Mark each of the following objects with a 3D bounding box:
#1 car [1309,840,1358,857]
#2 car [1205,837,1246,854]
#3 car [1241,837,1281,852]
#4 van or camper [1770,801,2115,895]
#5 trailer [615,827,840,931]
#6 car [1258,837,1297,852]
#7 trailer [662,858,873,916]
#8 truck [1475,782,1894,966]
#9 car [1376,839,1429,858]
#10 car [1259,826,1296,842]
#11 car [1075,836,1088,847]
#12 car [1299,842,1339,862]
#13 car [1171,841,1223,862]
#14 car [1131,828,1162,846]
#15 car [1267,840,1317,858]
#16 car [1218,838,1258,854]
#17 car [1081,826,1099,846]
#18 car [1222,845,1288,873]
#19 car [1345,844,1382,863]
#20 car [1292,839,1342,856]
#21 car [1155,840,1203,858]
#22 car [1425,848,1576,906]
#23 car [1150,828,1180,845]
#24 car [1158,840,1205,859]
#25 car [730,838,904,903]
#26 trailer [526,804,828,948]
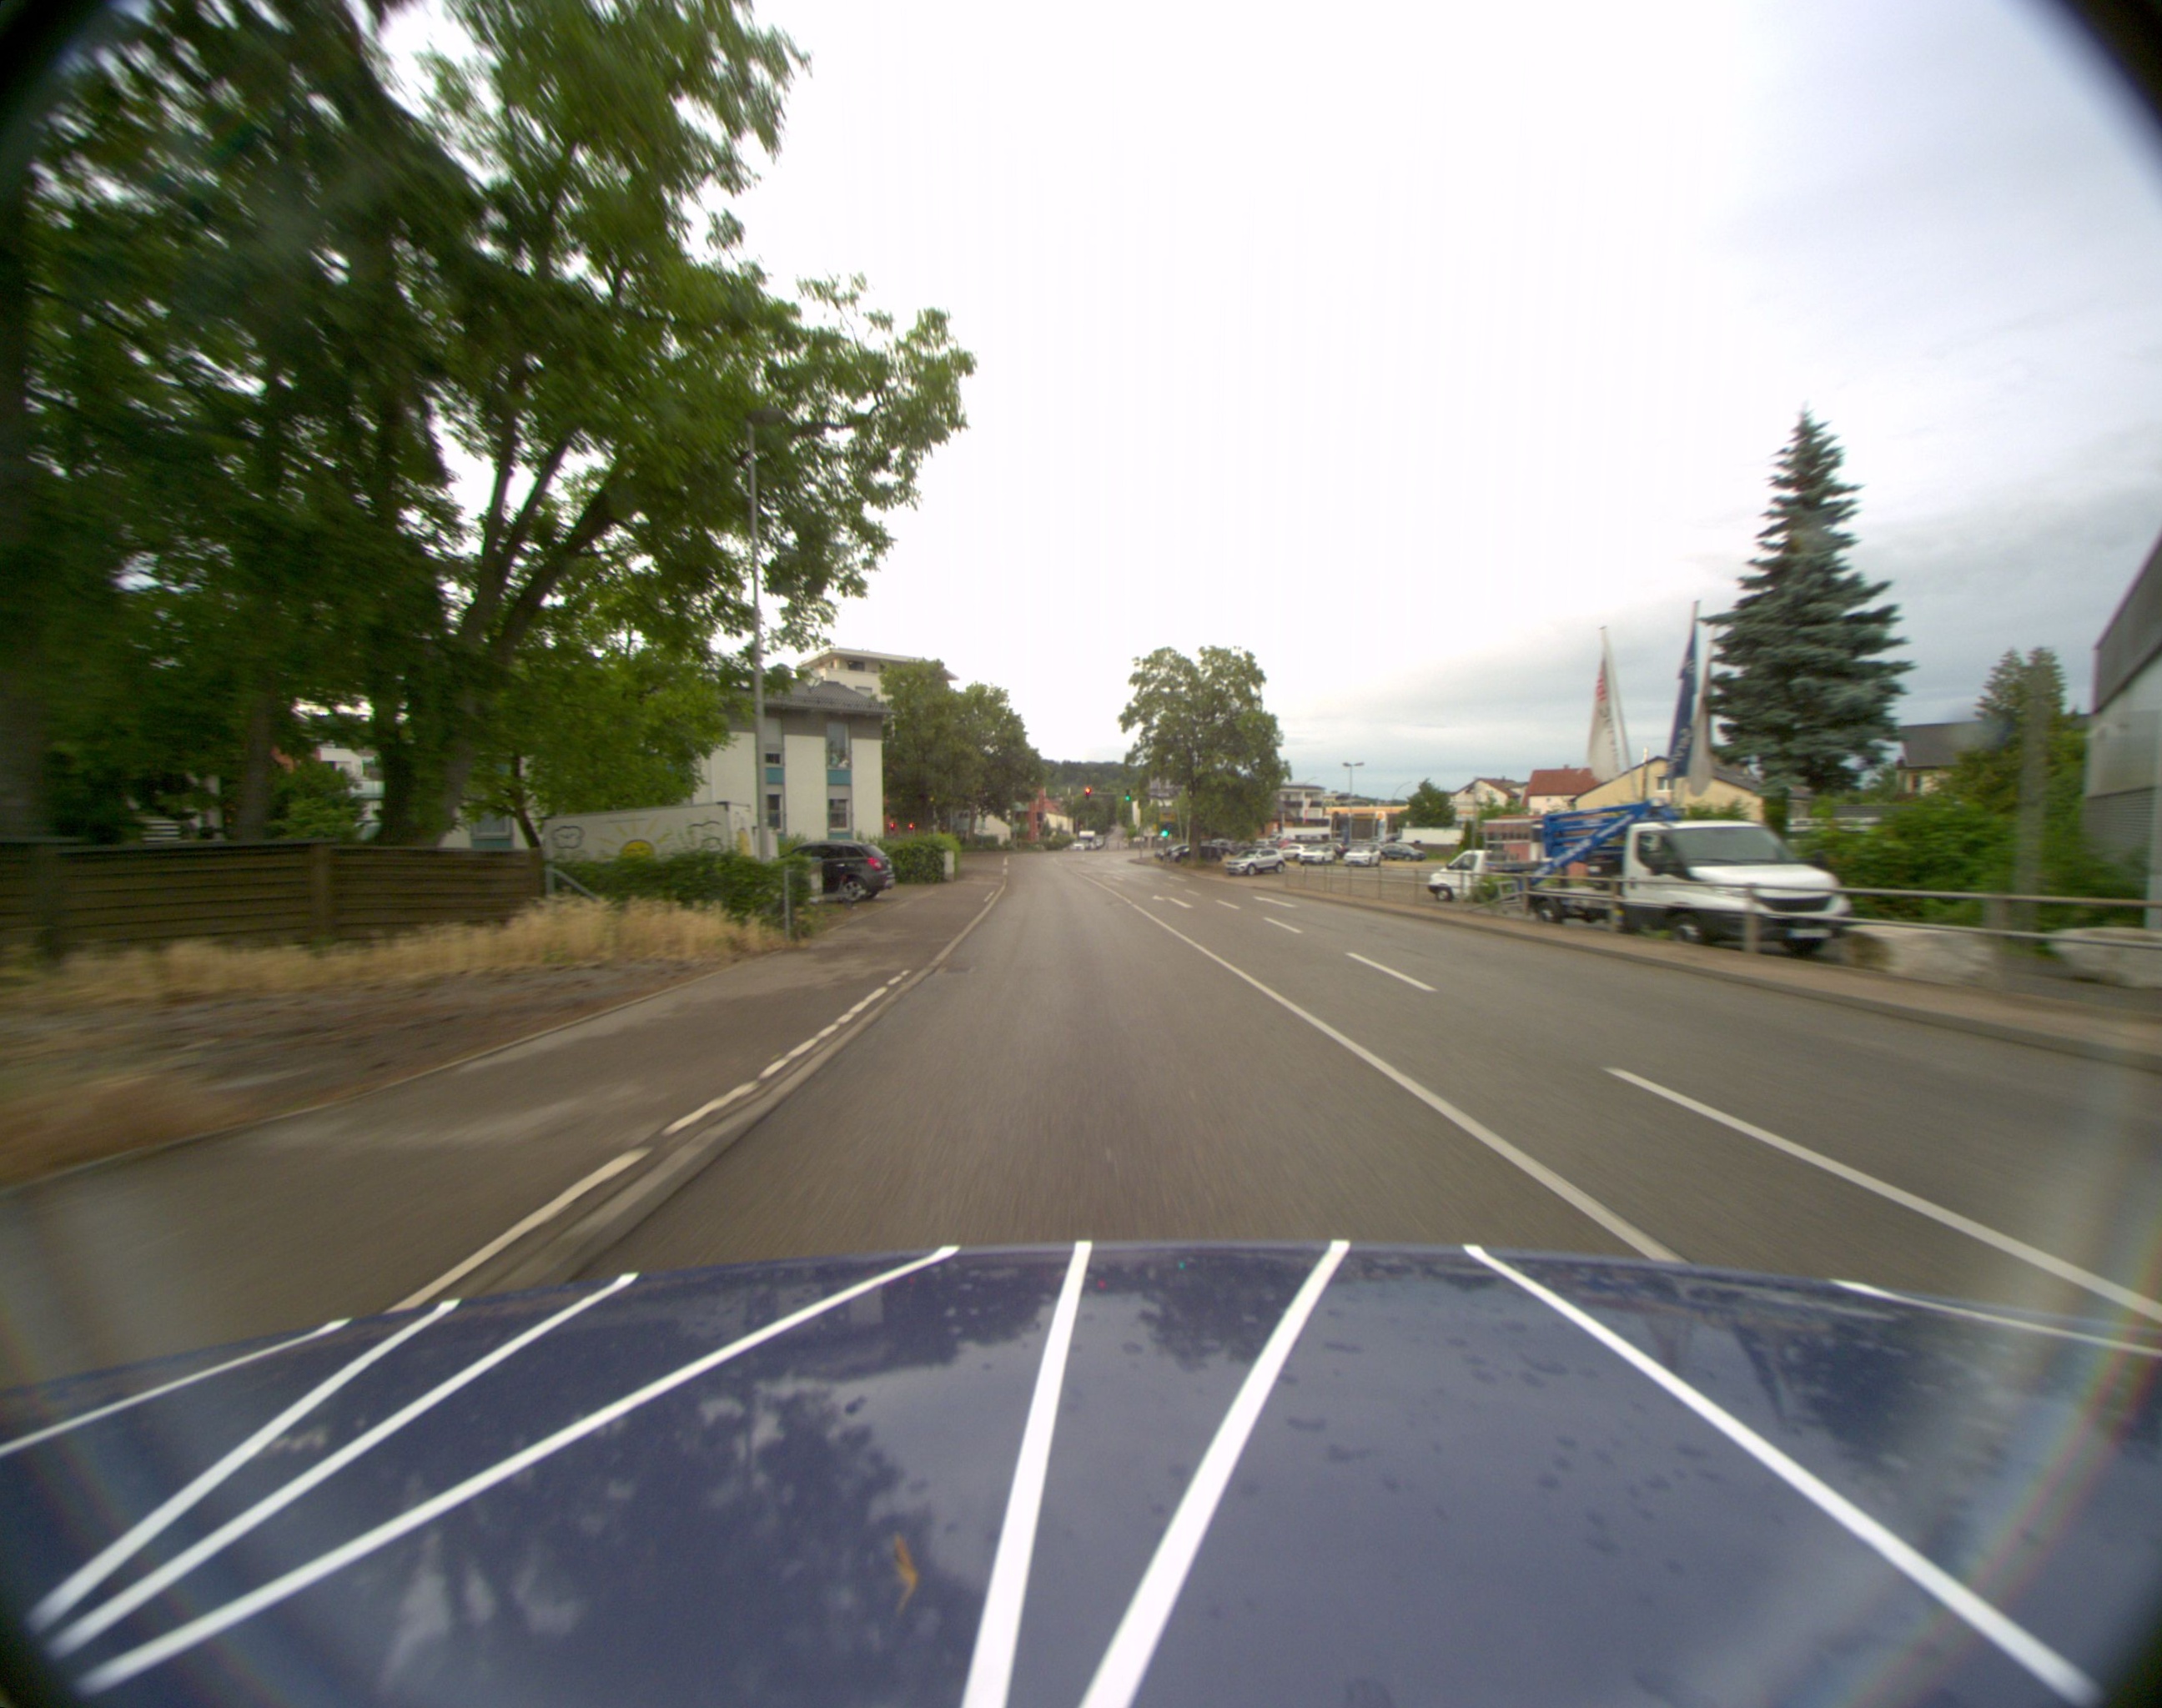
[{"bbox_3d":[23.720,-0.529,71.476,1.794,1.444,4.032,-1,3,-36],"label":"car"},{"bbox_3d":[14.525,-0.875,76.397,3.763,1.542,1.596,2,3,45],"label":"car"},{"bbox_3d":[19.057,-0.997,80.537,3.763,1.542,1.596,2,3,45],"label":"car"},{"bbox_3d":[30.944,-0.221,27.853,2.481,2.880,8.096,-6,4,-39],"label":"van or camper"},{"bbox_3d":[-7.450,0.494,16.348,3.963,2.010,1.686,-2,2,-4],"label":"trailer"},{"bbox_3d":[21.379,-1.070,82.640,3.763,1.542,1.596,2,3,45],"label":"car"},{"bbox_3d":[-7.434,0.751,18.330,4.409,1.280,1.571,0,0,-4],"label":"trailer"},{"bbox_3d":[10.660,0.225,14.800,1.998,2.618,7.891,1,1,2],"label":"truck"},{"bbox_3d":[28.822,-0.522,68.219,1.793,1.546,4.032,-1,2,-32],"label":"car"},{"bbox_3d":[26.840,-2.679,103.670,5.265,2.075,2.048,0,2,-36],"label":"car"},{"bbox_3d":[0.067,-1.711,103.532,1.769,1.460,3.998,0,2,-1],"label":"car"},{"bbox_3d":[18.980,-0.204,60.610,1.785,1.501,4.051,2,3,37],"label":"car"},{"bbox_3d":[9.269,-0.204,60.770,3.894,1.559,1.671,0,2,-2],"label":"car"},{"bbox_3d":[8.867,-2.332,103.337,1.773,2.094,4.370,-2,6,-35],"label":"car"},{"bbox_3d":[18.838,-0.453,68.009,1.794,1.444,4.032,-1,3,-36],"label":"car"},{"bbox_3d":[16.253,-0.882,78.561,3.763,1.542,1.596,2,3,45],"label":"car"},{"bbox_3d":[1.478,-2.877,119.808,2.574,2.759,6.124,1,5,2],"label":"car"},{"bbox_3d":[10.803,0.268,47.097,4.015,1.561,1.716,-3,2,-34],"label":"car"},{"bbox_3d":[21.772,-0.057,58.483,1.824,1.407,4.017,2,2,33],"label":"car"},{"bbox_3d":[21.608,-0.602,69.660,1.794,1.444,4.032,-1,3,-36],"label":"car"},{"bbox_3d":[8.767,-0.504,67.990,4.153,1.502,1.673,1,3,11],"label":"car"},{"bbox_3d":[14.940,0.725,27.279,2.067,1.860,4.271,-1,1,-31],"label":"car"},{"bbox_3d":[11.881,-2.484,107.512,1.774,2.094,4.209,-2,6,-36],"label":"car"},{"bbox_3d":[8.352,-0.394,63.488,3.766,1.559,1.672,0,2,1],"label":"car"},{"bbox_3d":[-7.333,0.440,21.444,4.224,1.739,1.984,0,0,-2],"label":"car"},{"bbox_3d":[-7.309,0.336,14.280,4.550,2.387,1.947,-1,2,-10],"label":"trailer"}]
